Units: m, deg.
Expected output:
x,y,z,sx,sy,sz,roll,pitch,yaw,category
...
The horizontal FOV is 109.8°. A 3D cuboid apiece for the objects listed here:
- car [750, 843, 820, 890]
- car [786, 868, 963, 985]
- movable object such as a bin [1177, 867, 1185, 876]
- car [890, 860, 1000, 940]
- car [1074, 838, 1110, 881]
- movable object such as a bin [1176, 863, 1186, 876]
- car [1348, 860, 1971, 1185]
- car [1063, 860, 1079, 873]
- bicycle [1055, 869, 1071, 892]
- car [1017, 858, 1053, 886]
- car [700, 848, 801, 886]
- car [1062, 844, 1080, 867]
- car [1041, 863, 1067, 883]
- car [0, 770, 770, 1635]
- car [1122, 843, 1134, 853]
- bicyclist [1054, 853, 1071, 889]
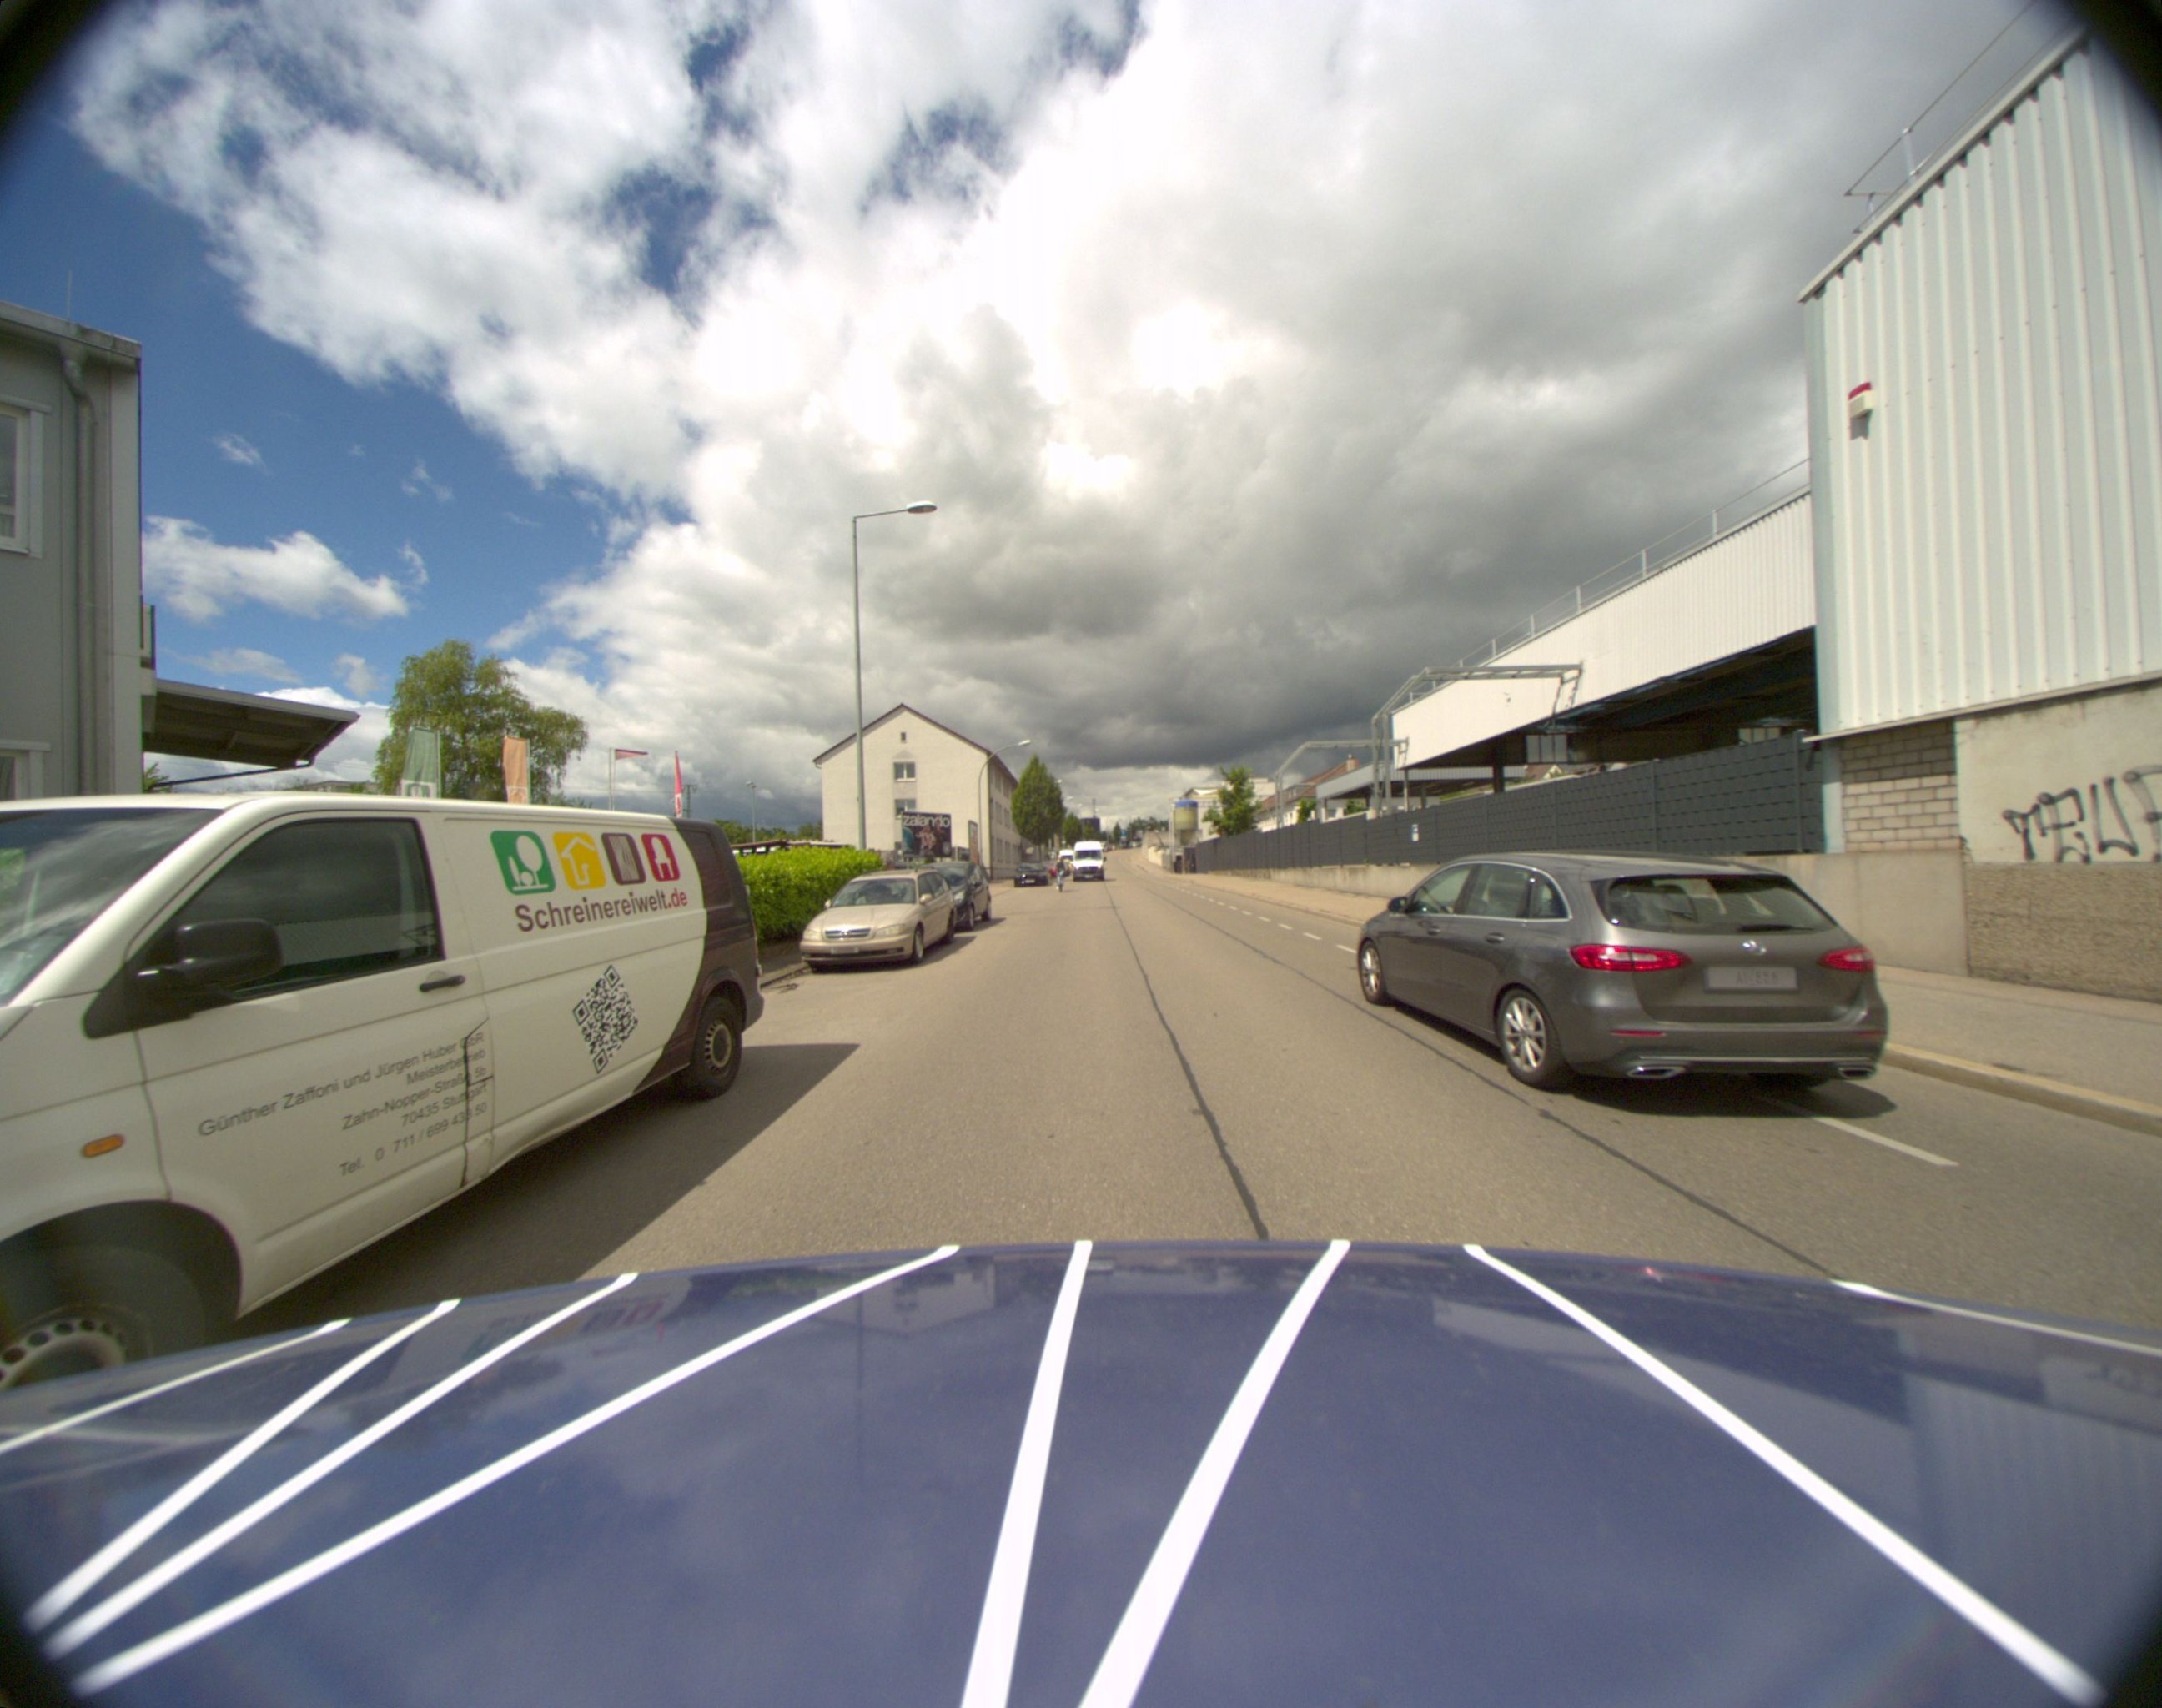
x,y,z,sx,sy,sz,roll,pitch,yaw,category
-19.170,0.751,49.457,2.282,2.752,5.454,-2,2,0,car
-3.309,1.084,13.202,1.659,1.531,4.734,-2,0,1,car
10.893,1.896,82.586,0.874,1.044,0.741,1,-1,5,movable object such as a bin
-3.162,1.012,18.464,1.683,1.628,4.123,-2,0,3,car
0.795,0.274,49.411,2.082,2.576,6.062,-2,2,3,car
10.974,1.735,83.559,0.993,1.384,1.216,1,-1,3,movable object such as a bin
3.718,0.892,6.048,1.723,1.547,4.287,-1,1,1,car
-1.155,1.418,89.346,1.596,1.439,3.790,-2,0,2,car
-0.828,1.229,35.343,0.742,0.969,1.732,-2,0,-1,bicycle
-2.668,1.009,45.017,1.796,1.457,4.708,-2,0,0,car
-23.796,0.896,54.971,6.180,2.438,2.274,-2,2,-3,car
-1.248,0.127,95.637,2.038,2.626,7.280,-2,2,0,car
-2.095,1.489,60.883,1.739,1.463,4.262,-2,-1,2,car
-3.403,0.819,3.266,1.874,1.978,5.144,-2,0,1,car
12.624,-1.538,204.556,2.057,2.579,5.740,-1,2,16,car
-0.845,0.795,35.395,0.741,1.617,0.731,-2,2,-1,bicyclist
